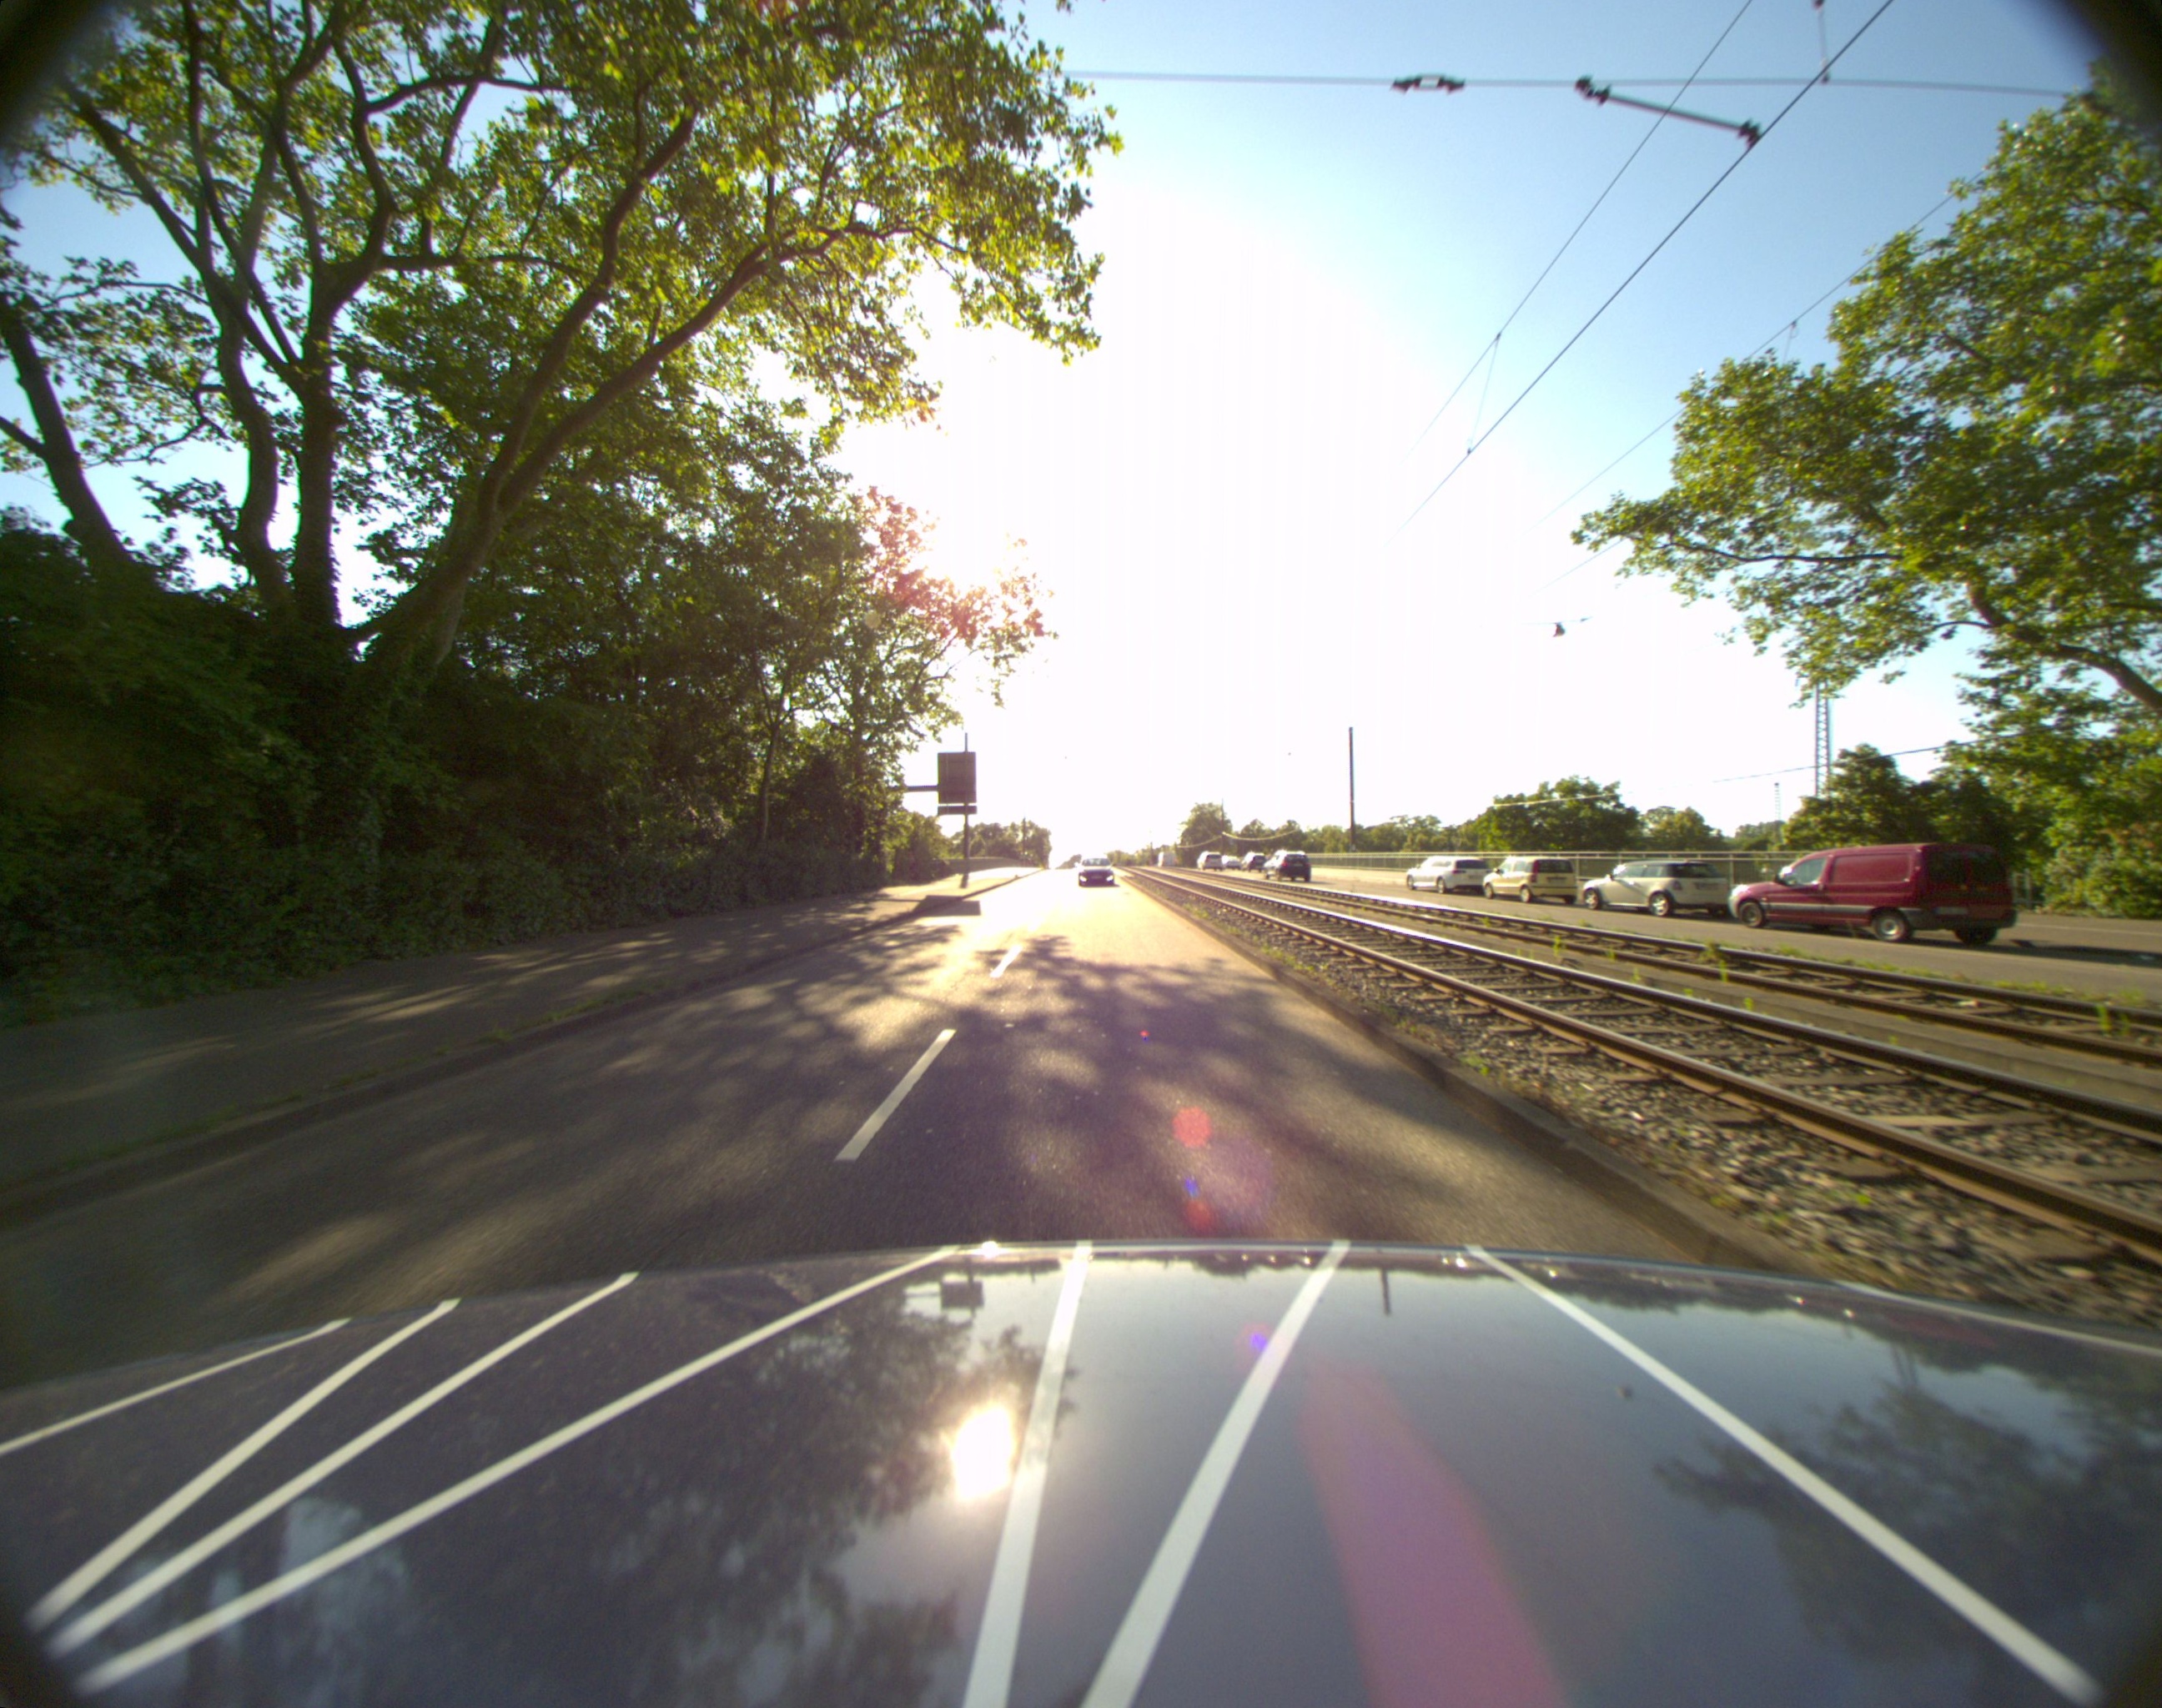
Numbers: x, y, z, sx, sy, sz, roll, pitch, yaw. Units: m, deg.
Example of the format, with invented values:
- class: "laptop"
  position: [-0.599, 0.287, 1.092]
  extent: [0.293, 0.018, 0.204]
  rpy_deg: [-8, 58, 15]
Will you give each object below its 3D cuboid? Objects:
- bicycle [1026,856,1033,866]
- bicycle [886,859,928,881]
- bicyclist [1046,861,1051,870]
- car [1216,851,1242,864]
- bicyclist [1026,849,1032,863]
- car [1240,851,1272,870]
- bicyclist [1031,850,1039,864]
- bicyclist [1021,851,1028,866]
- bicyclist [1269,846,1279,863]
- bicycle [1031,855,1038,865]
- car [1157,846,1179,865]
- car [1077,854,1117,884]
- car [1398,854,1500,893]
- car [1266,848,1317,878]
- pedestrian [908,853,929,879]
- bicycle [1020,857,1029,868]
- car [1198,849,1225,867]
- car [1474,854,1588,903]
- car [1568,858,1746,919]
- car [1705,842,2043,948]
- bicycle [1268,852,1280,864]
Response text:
- class: "bicycle"
  position: [-5.806, 0.772, 85.223]
  extent: [0.626, 1.115, 2.042]
  rpy_deg: [-1, -1, 0]
- class: "bicycle"
  position: [-8.987, 0.814, 39.360]
  extent: [2.038, 1.116, 0.628]
  rpy_deg: [0, 1, 13]
- class: "bicyclist"
  position: [-5.750, 2.013, 133.136]
  extent: [0.733, 1.679, 1.202]
  rpy_deg: [-3, -1, -3]
- class: "car"
  position: [15.405, 0.345, 79.316]
  extent: [1.688, 1.348, 4.920]
  rpy_deg: [1, 0, 0]
- class: "bicyclist"
  position: [-5.854, 0.213, 85.111]
  extent: [0.626, 1.583, 0.931]
  rpy_deg: [-1, -1, 0]
- class: "car"
  position: [15.506, 0.593, 67.604]
  extent: [1.784, 1.640, 4.447]
  rpy_deg: [1, -1, 0]
- class: "bicyclist"
  position: [-5.469, 0.365, 90.280]
  extent: [0.814, 1.552, 0.897]
  rpy_deg: [-1, -2, 0]
- class: "bicyclist"
  position: [-5.981, 0.505, 80.678]
  extent: [0.626, 1.499, 1.006]
  rpy_deg: [-1, -1, 1]
- class: "bicyclist"
  position: [18.513, 0.039, 72.966]
  extent: [0.681, 1.617, 0.890]
  rpy_deg: [-3, 0, 2]
- class: "bicycle"
  position: [-5.471, 0.745, 90.248]
  extent: [0.685, 1.115, 2.217]
  rpy_deg: [-1, -3, 0]
- class: "car"
  position: [12.168, 0.205, 107.142]
  extent: [2.092, 2.577, 6.039]
  rpy_deg: [1, 0, -3]
- class: "car"
  position: [0.724, 0.749, 36.918]
  extent: [1.802, 1.345, 4.001]
  rpy_deg: [0, -2, -1]
- class: "car"
  position: [15.094, 0.770, 31.481]
  extent: [1.746, 1.455, 4.955]
  rpy_deg: [-1, 0, -1]
- class: "car"
  position: [12.035, 0.500, 43.706]
  extent: [1.746, 1.614, 4.394]
  rpy_deg: [0, 0, 0]
- class: "pedestrian"
  position: [-8.486, 0.622, 39.734]
  extent: [0.812, 1.387, 0.807]
  rpy_deg: [0, 1, 14]
- class: "bicycle"
  position: [-5.987, 0.914, 80.710]
  extent: [0.626, 1.115, 2.260]
  rpy_deg: [-1, -2, 1]
- class: "car"
  position: [12.358, 0.352, 72.259]
  extent: [1.877, 1.655, 4.597]
  rpy_deg: [0, 0, 1]
- class: "car"
  position: [15.078, 0.784, 25.691]
  extent: [1.637, 1.522, 3.790]
  rpy_deg: [-1, 0, 0]
- class: "car"
  position: [15.170, 0.841, 20.312]
  extent: [1.638, 1.442, 4.001]
  rpy_deg: [-1, 0, -2]
- class: "car"
  position: [15.067, 0.688, 14.931]
  extent: [1.746, 1.743, 4.684]
  rpy_deg: [-1, 0, 0]
- class: "bicycle"
  position: [18.539, 0.406, 73.133]
  extent: [0.681, 1.091, 2.100]
  rpy_deg: [-3, 0, 3]
